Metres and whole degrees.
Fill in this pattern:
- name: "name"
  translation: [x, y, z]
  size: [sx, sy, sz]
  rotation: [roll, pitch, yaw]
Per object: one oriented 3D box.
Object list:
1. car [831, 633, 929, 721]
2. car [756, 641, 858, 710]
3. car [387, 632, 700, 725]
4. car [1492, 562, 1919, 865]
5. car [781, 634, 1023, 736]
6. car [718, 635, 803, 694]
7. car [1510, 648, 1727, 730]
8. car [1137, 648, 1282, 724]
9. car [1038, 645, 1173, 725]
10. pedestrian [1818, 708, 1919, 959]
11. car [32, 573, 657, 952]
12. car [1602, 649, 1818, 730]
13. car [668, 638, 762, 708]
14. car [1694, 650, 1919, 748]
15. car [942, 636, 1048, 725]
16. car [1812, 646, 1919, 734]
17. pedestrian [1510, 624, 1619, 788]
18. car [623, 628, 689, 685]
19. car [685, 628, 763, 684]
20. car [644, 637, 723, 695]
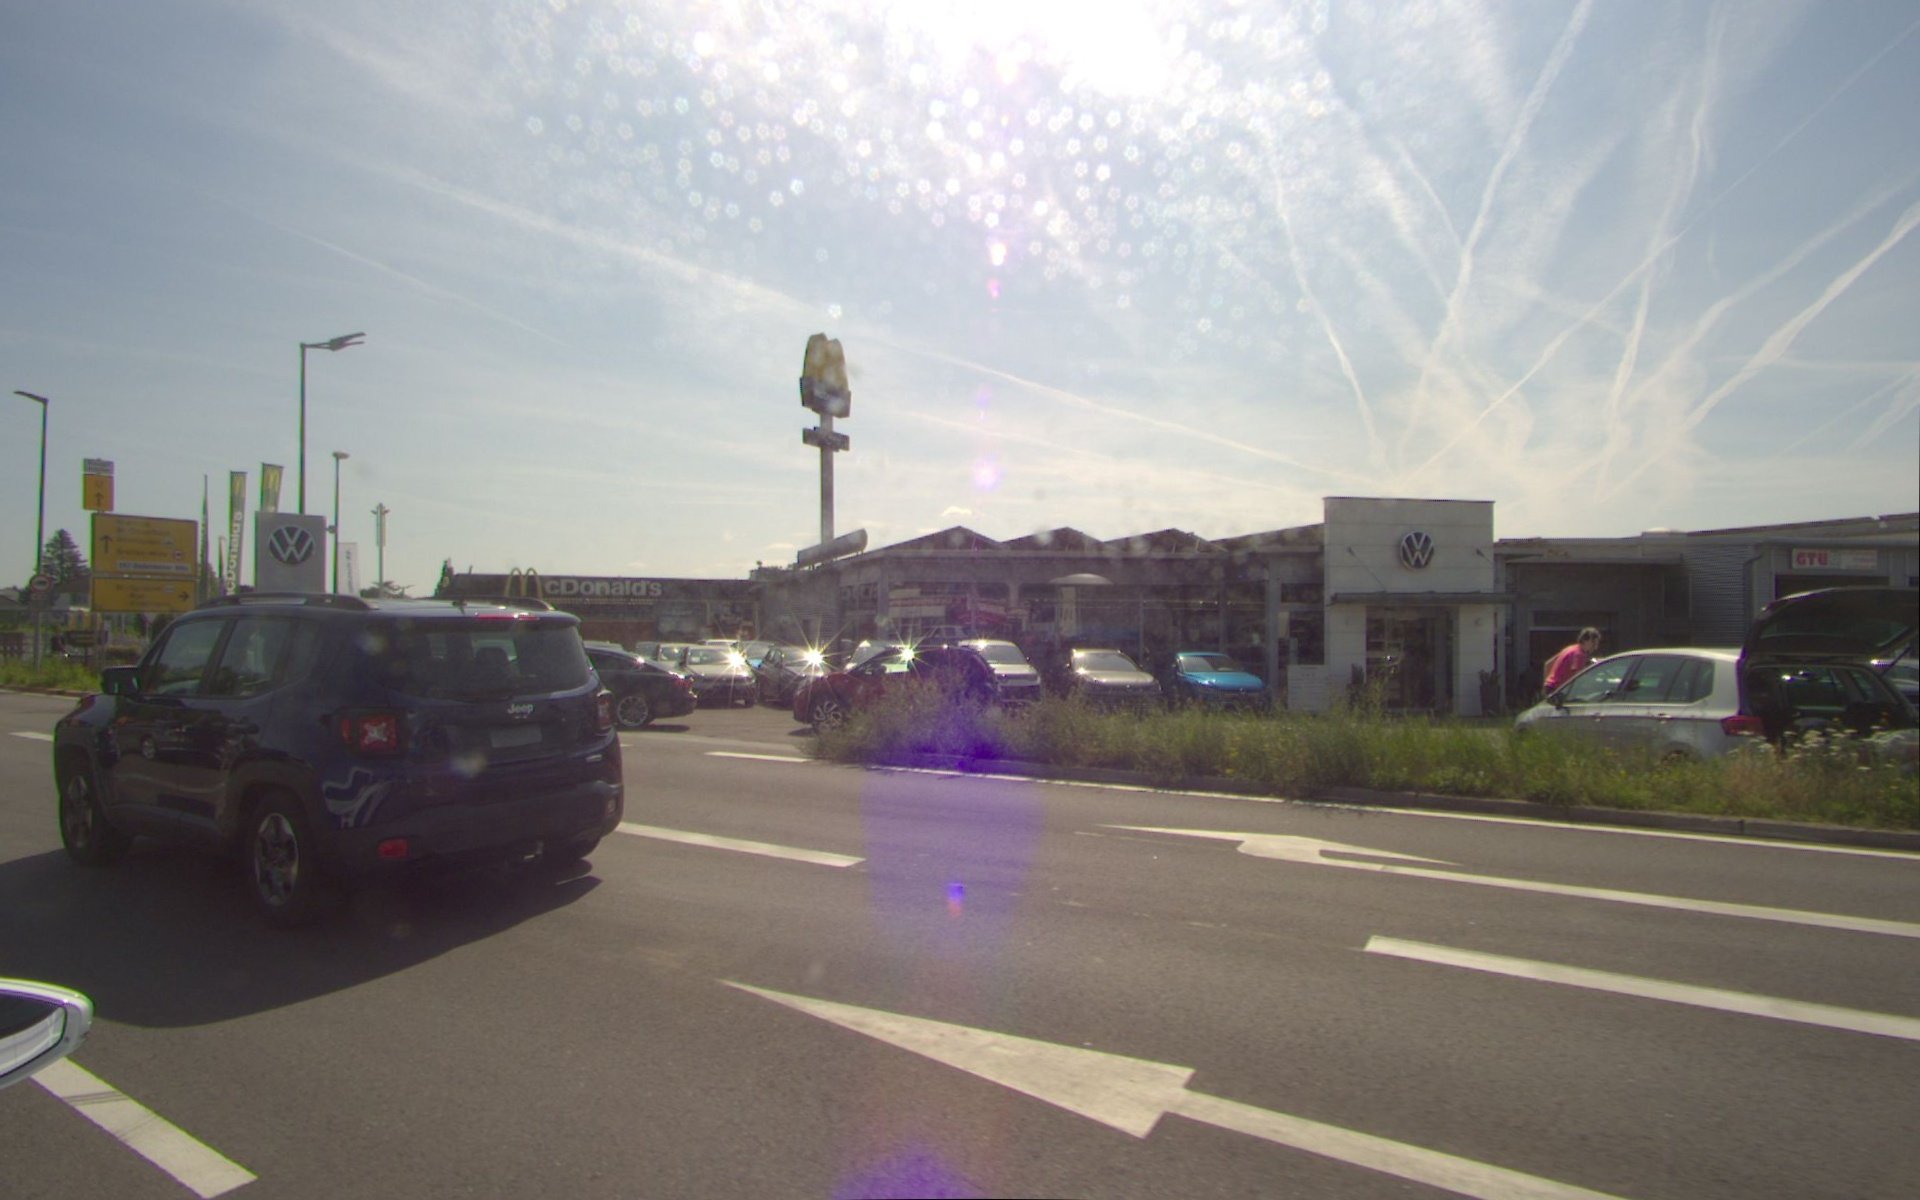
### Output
- name: "car"
  translation: [-1.690, 1.619, 22.253]
  size: [1.741, 1.692, 4.026]
  rotation: [0, -1, 2]
- name: "car"
  translation: [-3.920, 1.820, 25.190]
  size: [1.721, 1.495, 3.784]
  rotation: [0, -1, -22]
- name: "car"
  translation: [-7.060, 1.417, 17.562]
  size: [4.729, 1.347, 1.967]
  rotation: [3, -6, -13]
- name: "car"
  translation: [7.049, 0.874, 9.600]
  size: [1.729, 2.241, 4.349]
  rotation: [0, -1, 2]
- name: "car"
  translation: [-0.939, 1.455, 17.634]
  size: [3.998, 1.675, 1.777]
  rotation: [0, -2, 6]
- name: "car"
  translation: [-5.916, 1.827, 29.376]
  size: [1.747, 1.538, 3.948]
  rotation: [0, -1, -22]
- name: "car"
  translation: [16.186, 2.118, 24.941]
  size: [1.744, 1.676, 4.545]
  rotation: [0, -1, -14]
- name: "car"
  translation: [5.586, 1.887, 22.977]
  size: [1.789, 1.428, 4.112]
  rotation: [0, -1, -9]
- name: "car"
  translation: [3.138, 1.821, 22.469]
  size: [1.858, 1.476, 4.209]
  rotation: [0, -1, -9]
- name: "pedestrian"
  translation: [6.840, 1.599, 7.068]
  size: [0.920, 1.605, 0.758]
  rotation: [0, 0, -1]
- name: "car"
  translation: [-3.924, 0.750, 6.234]
  size: [3.942, 1.676, 1.767]
  rotation: [-1, -1, 32]
- name: "car"
  translation: [18.519, 2.140, 24.982]
  size: [1.744, 1.676, 4.166]
  rotation: [0, -1, -14]
- name: "car"
  translation: [-6.309, 1.787, 25.454]
  size: [1.720, 1.511, 4.251]
  rotation: [0, -1, -22]
- name: "car"
  translation: [17.274, 1.899, 20.099]
  size: [1.662, 1.629, 4.074]
  rotation: [1, -1, -10]
- name: "car"
  translation: [0.670, 1.694, 22.194]
  size: [1.884, 1.692, 4.000]
  rotation: [0, -1, -5]
- name: "car"
  translation: [19.960, 1.838, 20.212]
  size: [1.742, 1.676, 4.075]
  rotation: [0, -1, -9]
- name: "pedestrian"
  translation: [7.439, 1.270, 12.360]
  size: [0.729, 1.937, 0.989]
  rotation: [0, 0, -2]
- name: "car"
  translation: [-10.132, 1.813, 33.175]
  size: [1.747, 1.692, 4.158]
  rotation: [0, -1, -22]
- name: "car"
  translation: [-8.113, 1.823, 34.069]
  size: [1.881, 1.692, 4.804]
  rotation: [0, -1, -22]
- name: "car"
  translation: [-8.173, 1.864, 29.350]
  size: [1.767, 1.469, 4.142]
  rotation: [0, -1, -22]
